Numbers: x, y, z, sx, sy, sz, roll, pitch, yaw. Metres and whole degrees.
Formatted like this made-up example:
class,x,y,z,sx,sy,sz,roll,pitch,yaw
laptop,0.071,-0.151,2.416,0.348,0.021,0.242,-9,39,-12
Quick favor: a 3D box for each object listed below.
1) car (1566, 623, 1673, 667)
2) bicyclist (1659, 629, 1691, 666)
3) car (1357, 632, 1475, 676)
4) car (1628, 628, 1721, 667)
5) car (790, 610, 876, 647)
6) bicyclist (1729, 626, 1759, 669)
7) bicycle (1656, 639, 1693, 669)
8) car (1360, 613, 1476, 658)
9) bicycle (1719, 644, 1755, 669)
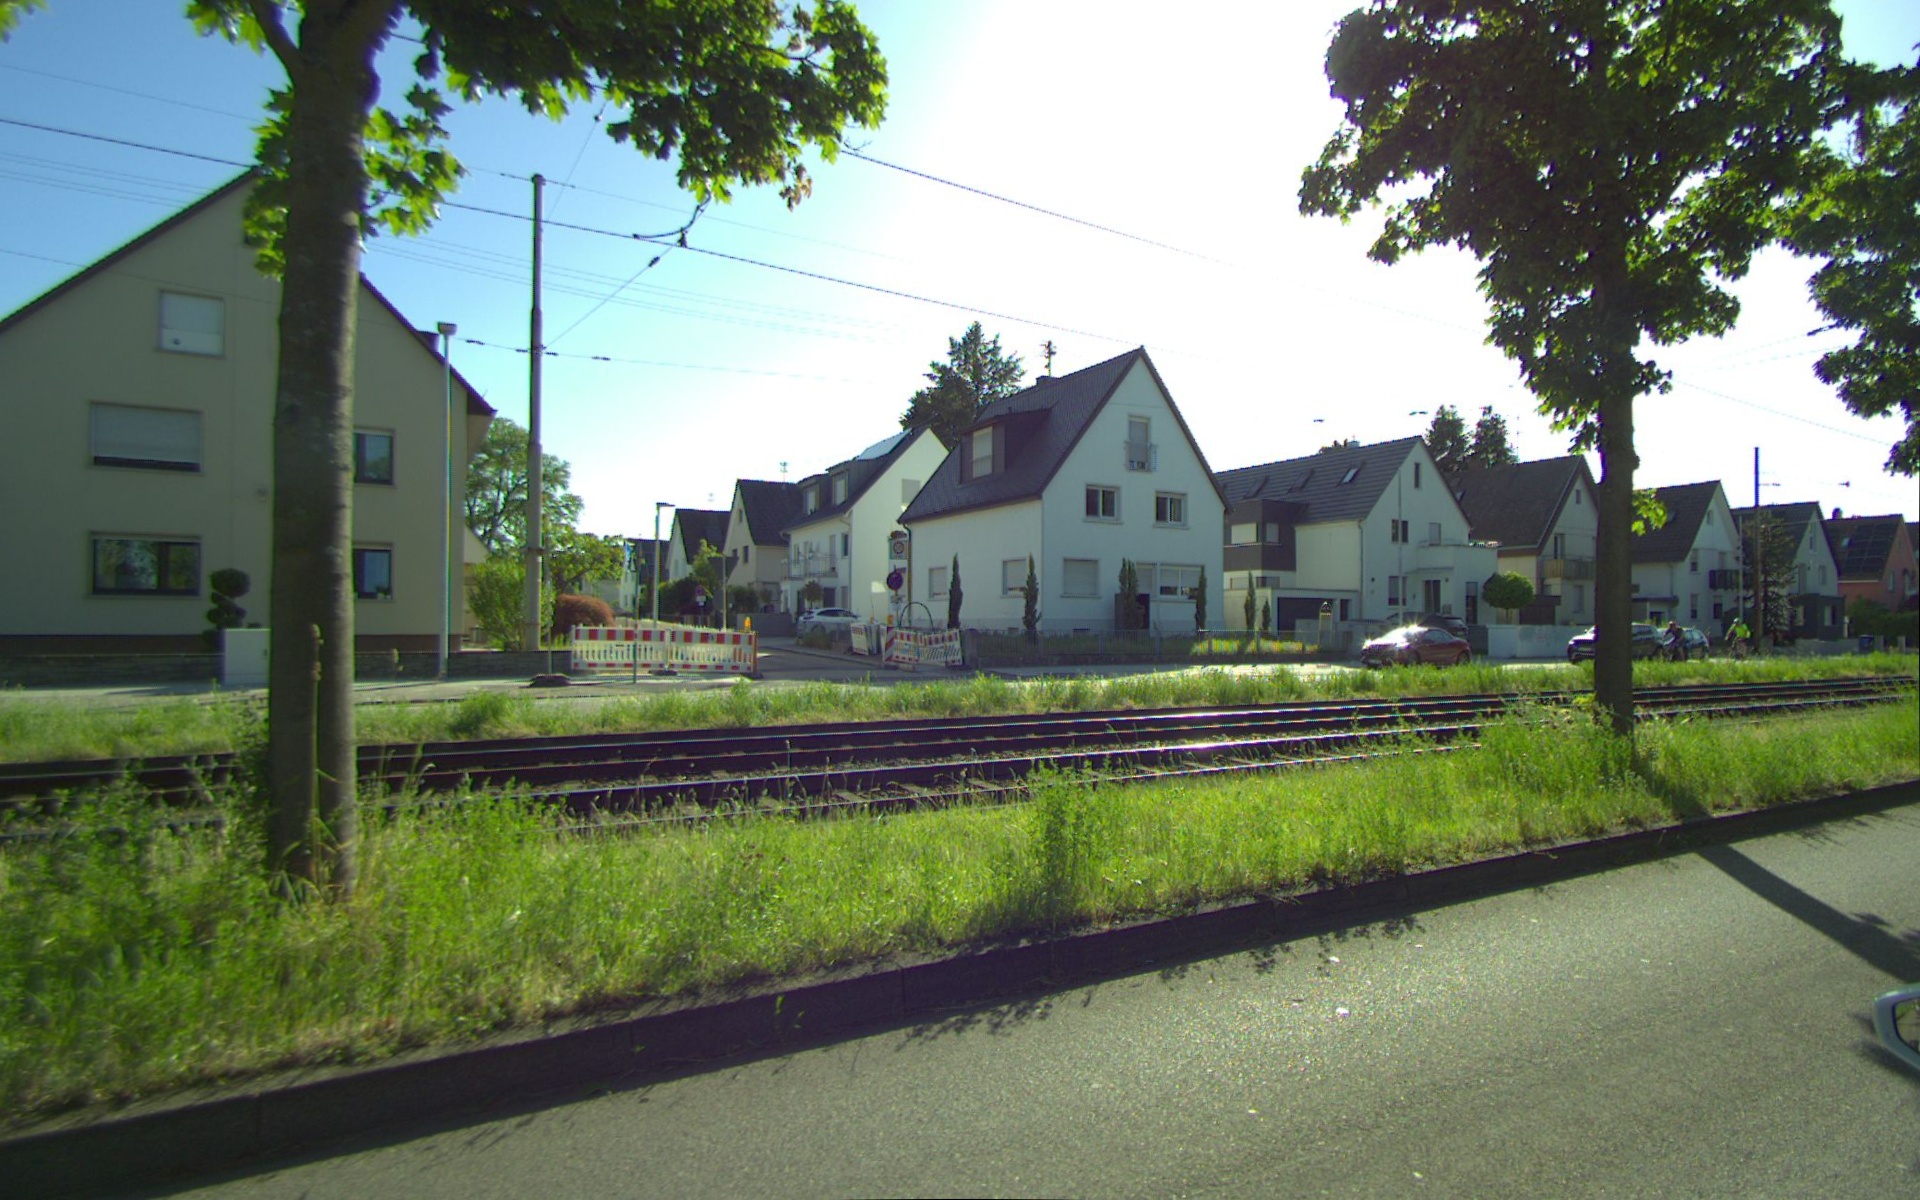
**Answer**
class,x,y,z,sx,sy,sz,roll,pitch,yaw
car,25.681,1.753,39.095,4.333,1.589,1.637,2,0,-29
bicyclist,26.449,1.754,37.167,0.871,1.354,0.685,1,-1,-30
car,15.057,1.775,33.120,3.951,1.344,1.487,2,0,-29
car,29.323,1.955,41.209,3.942,1.470,1.606,2,0,-30
car,-6.401,1.437,50.581,3.942,1.799,1.990,1,-1,-22
bicyclist,31.299,1.889,40.094,0.871,1.674,0.685,1,-1,-30
bicycle,26.372,1.969,37.060,1.857,1.084,0.396,1,-1,-30
car,19.099,1.458,42.031,1.979,1.691,3.963,2,0,-33
bicycle,30.598,2.219,39.548,2.071,0.940,0.396,1,-1,-30
